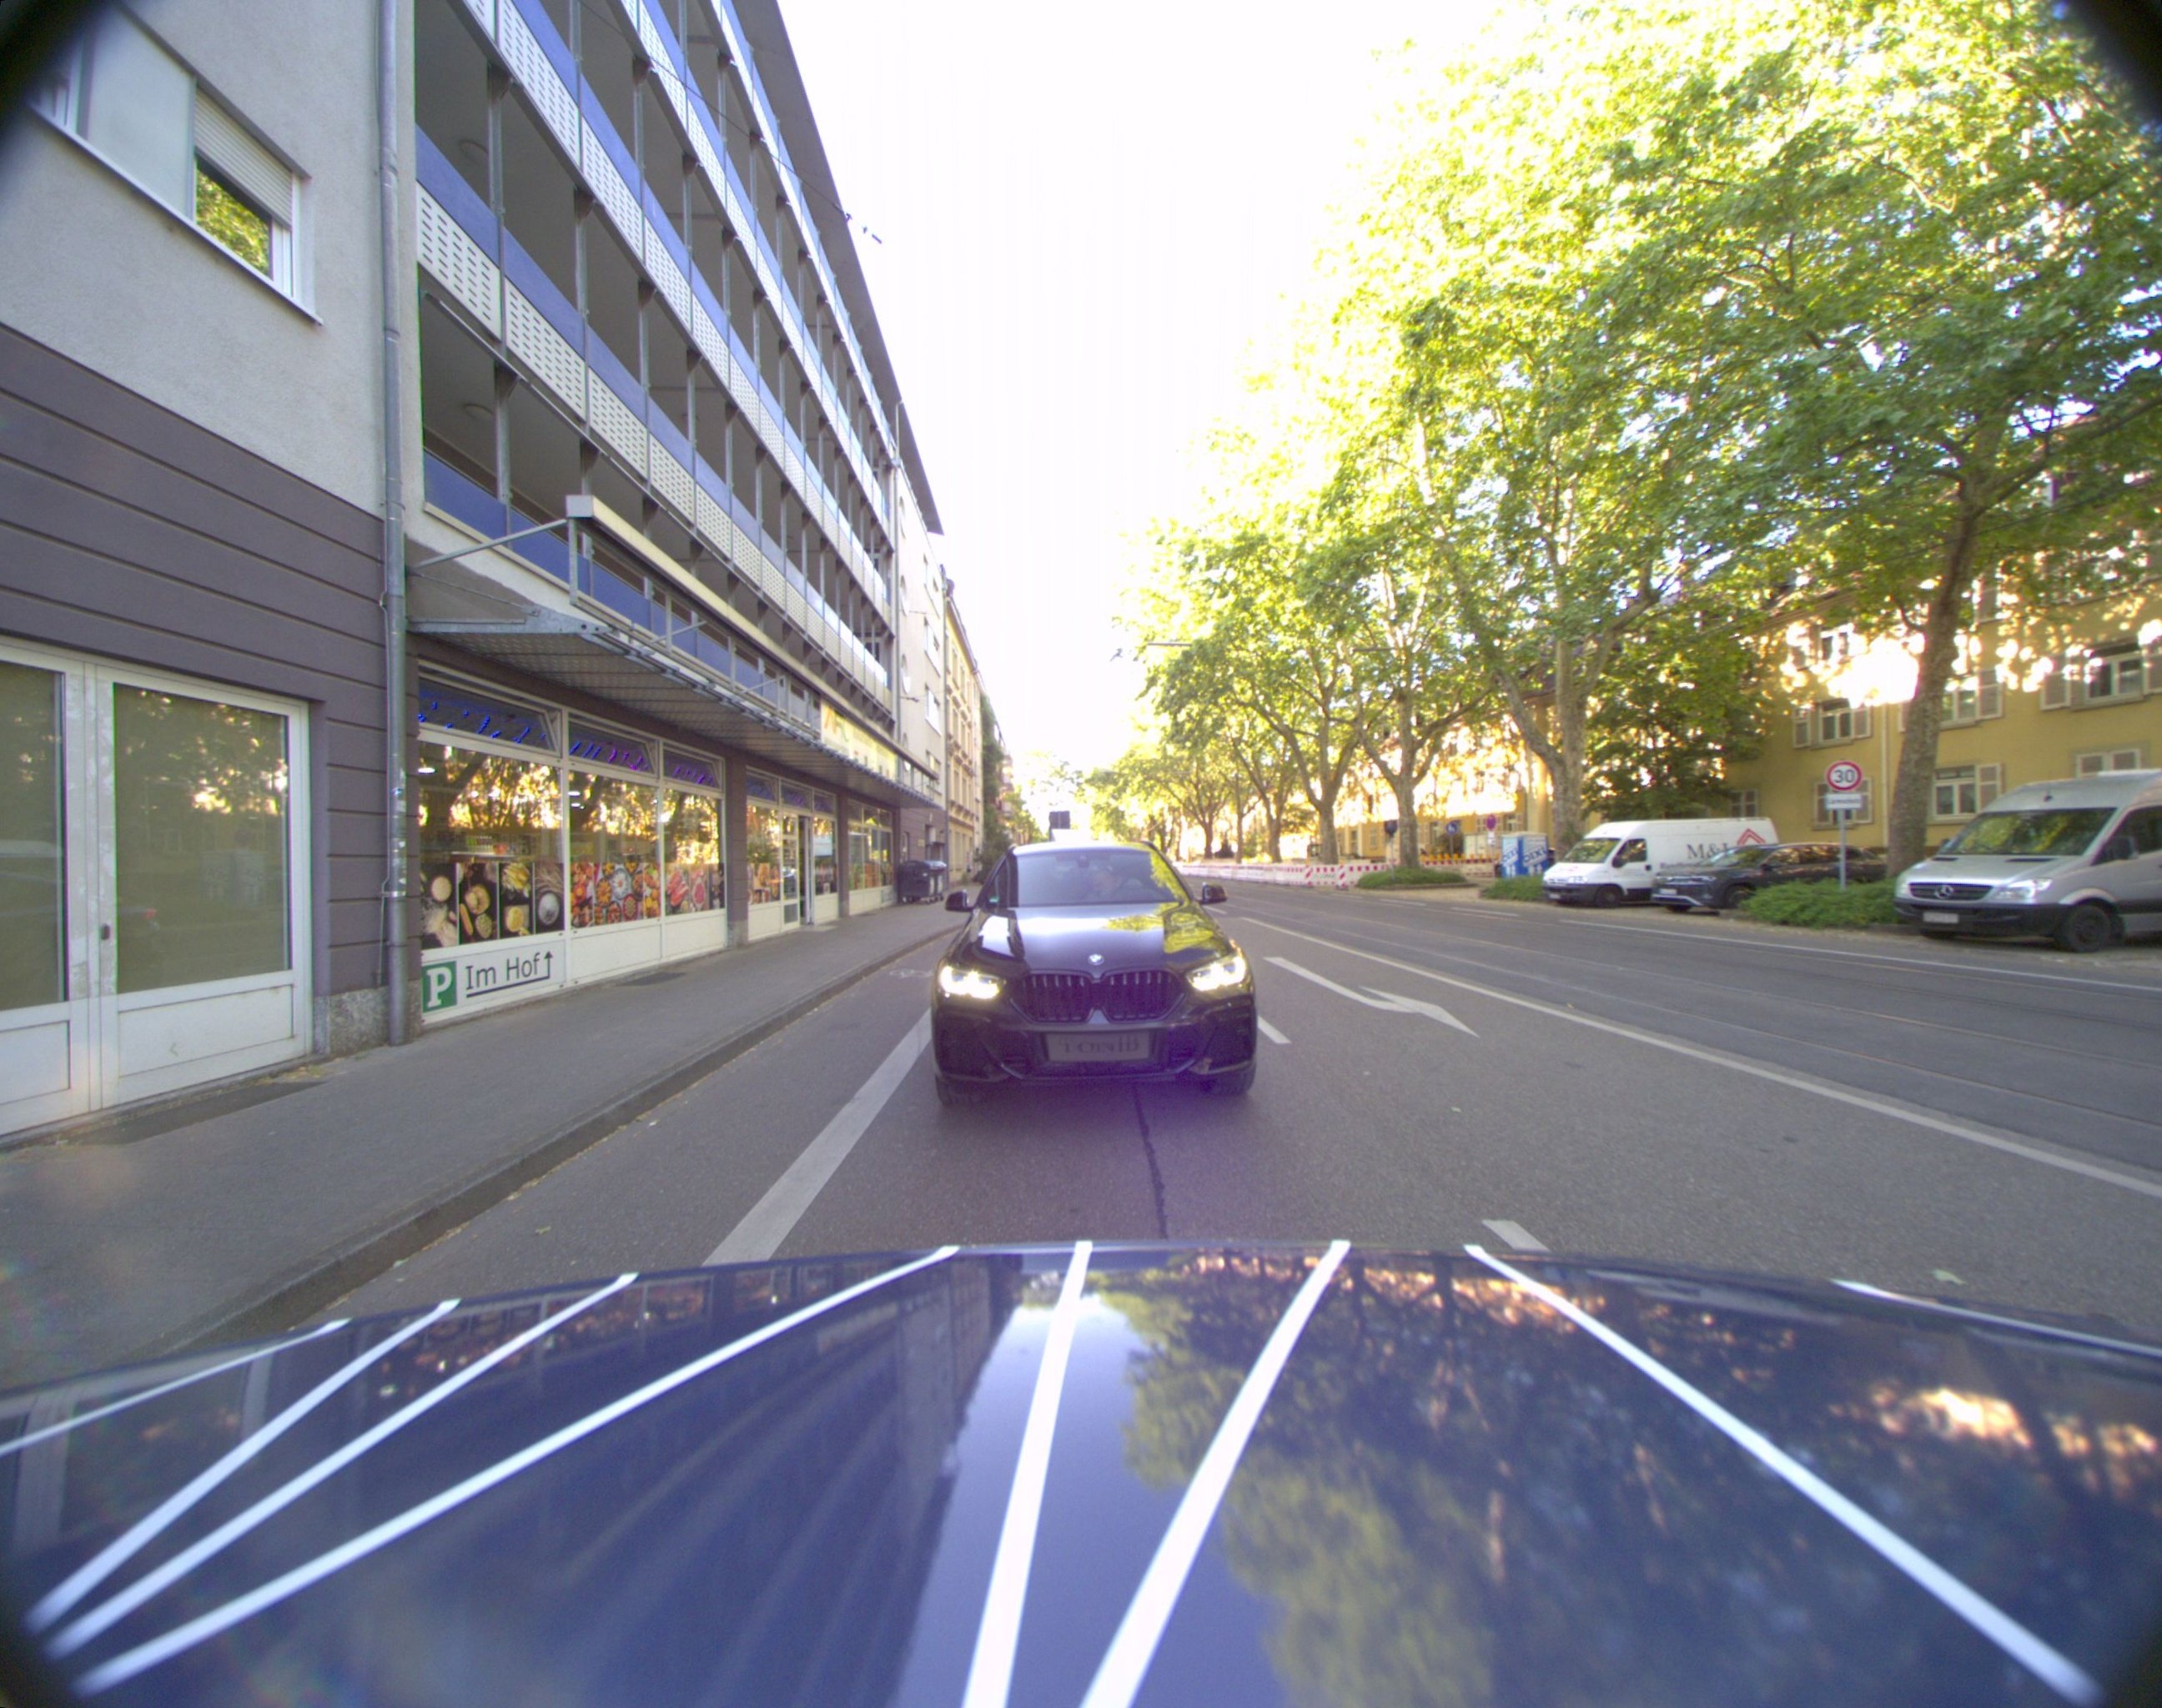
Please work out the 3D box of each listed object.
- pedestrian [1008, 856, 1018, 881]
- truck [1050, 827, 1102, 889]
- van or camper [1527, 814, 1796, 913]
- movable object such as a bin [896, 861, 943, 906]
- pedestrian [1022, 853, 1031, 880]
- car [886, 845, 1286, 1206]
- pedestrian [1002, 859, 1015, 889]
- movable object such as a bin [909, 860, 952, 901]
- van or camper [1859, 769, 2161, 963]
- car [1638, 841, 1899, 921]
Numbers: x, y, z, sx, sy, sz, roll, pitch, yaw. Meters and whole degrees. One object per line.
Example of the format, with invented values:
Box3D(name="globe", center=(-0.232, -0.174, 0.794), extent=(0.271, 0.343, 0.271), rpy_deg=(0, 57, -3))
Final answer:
Box3D(name="pedestrian", center=(-4.476, 0.938, 49.935), extent=(0.541, 1.662, 0.513), rpy_deg=(-1, 0, 1))
Box3D(name="truck", center=(-0.358, 0.180, 41.110), extent=(2.344, 3.095, 5.210), rpy_deg=(-2, 1, -4))
Box3D(name="van or camper", center=(15.872, 0.236, 21.005), extent=(5.763, 2.371, 2.156), rpy_deg=(-2, 1, 0))
Box3D(name="movable object such as a bin", center=(-5.257, 0.941, 24.813), extent=(1.203, 1.402, 1.372), rpy_deg=(-1, 0, 1))
Box3D(name="pedestrian", center=(-3.453, 0.790, 48.250), extent=(0.541, 1.662, 0.630), rpy_deg=(-1, 0, 1))
Box3D(name="car", center=(0.069, 0.835, 6.132), extent=(1.930, 1.742, 4.683), rpy_deg=(-2, 1, 1))
Box3D(name="pedestrian", center=(-3.607, 0.984, 37.649), extent=(0.541, 1.437, 0.630), rpy_deg=(-1, 0, 1))
Box3D(name="movable object such as a bin", center=(-5.282, 0.919, 26.813), extent=(1.203, 1.402, 1.372), rpy_deg=(-1, 0, 1))
Box3D(name="van or camper", center=(16.006, 0.082, 11.647), extent=(5.931, 2.633, 2.156), rpy_deg=(-2, 1, 0))
Box3D(name="car", center=(15.995, 0.599, 17.842), extent=(4.540, 1.624, 1.693), rpy_deg=(-2, 1, 1))
